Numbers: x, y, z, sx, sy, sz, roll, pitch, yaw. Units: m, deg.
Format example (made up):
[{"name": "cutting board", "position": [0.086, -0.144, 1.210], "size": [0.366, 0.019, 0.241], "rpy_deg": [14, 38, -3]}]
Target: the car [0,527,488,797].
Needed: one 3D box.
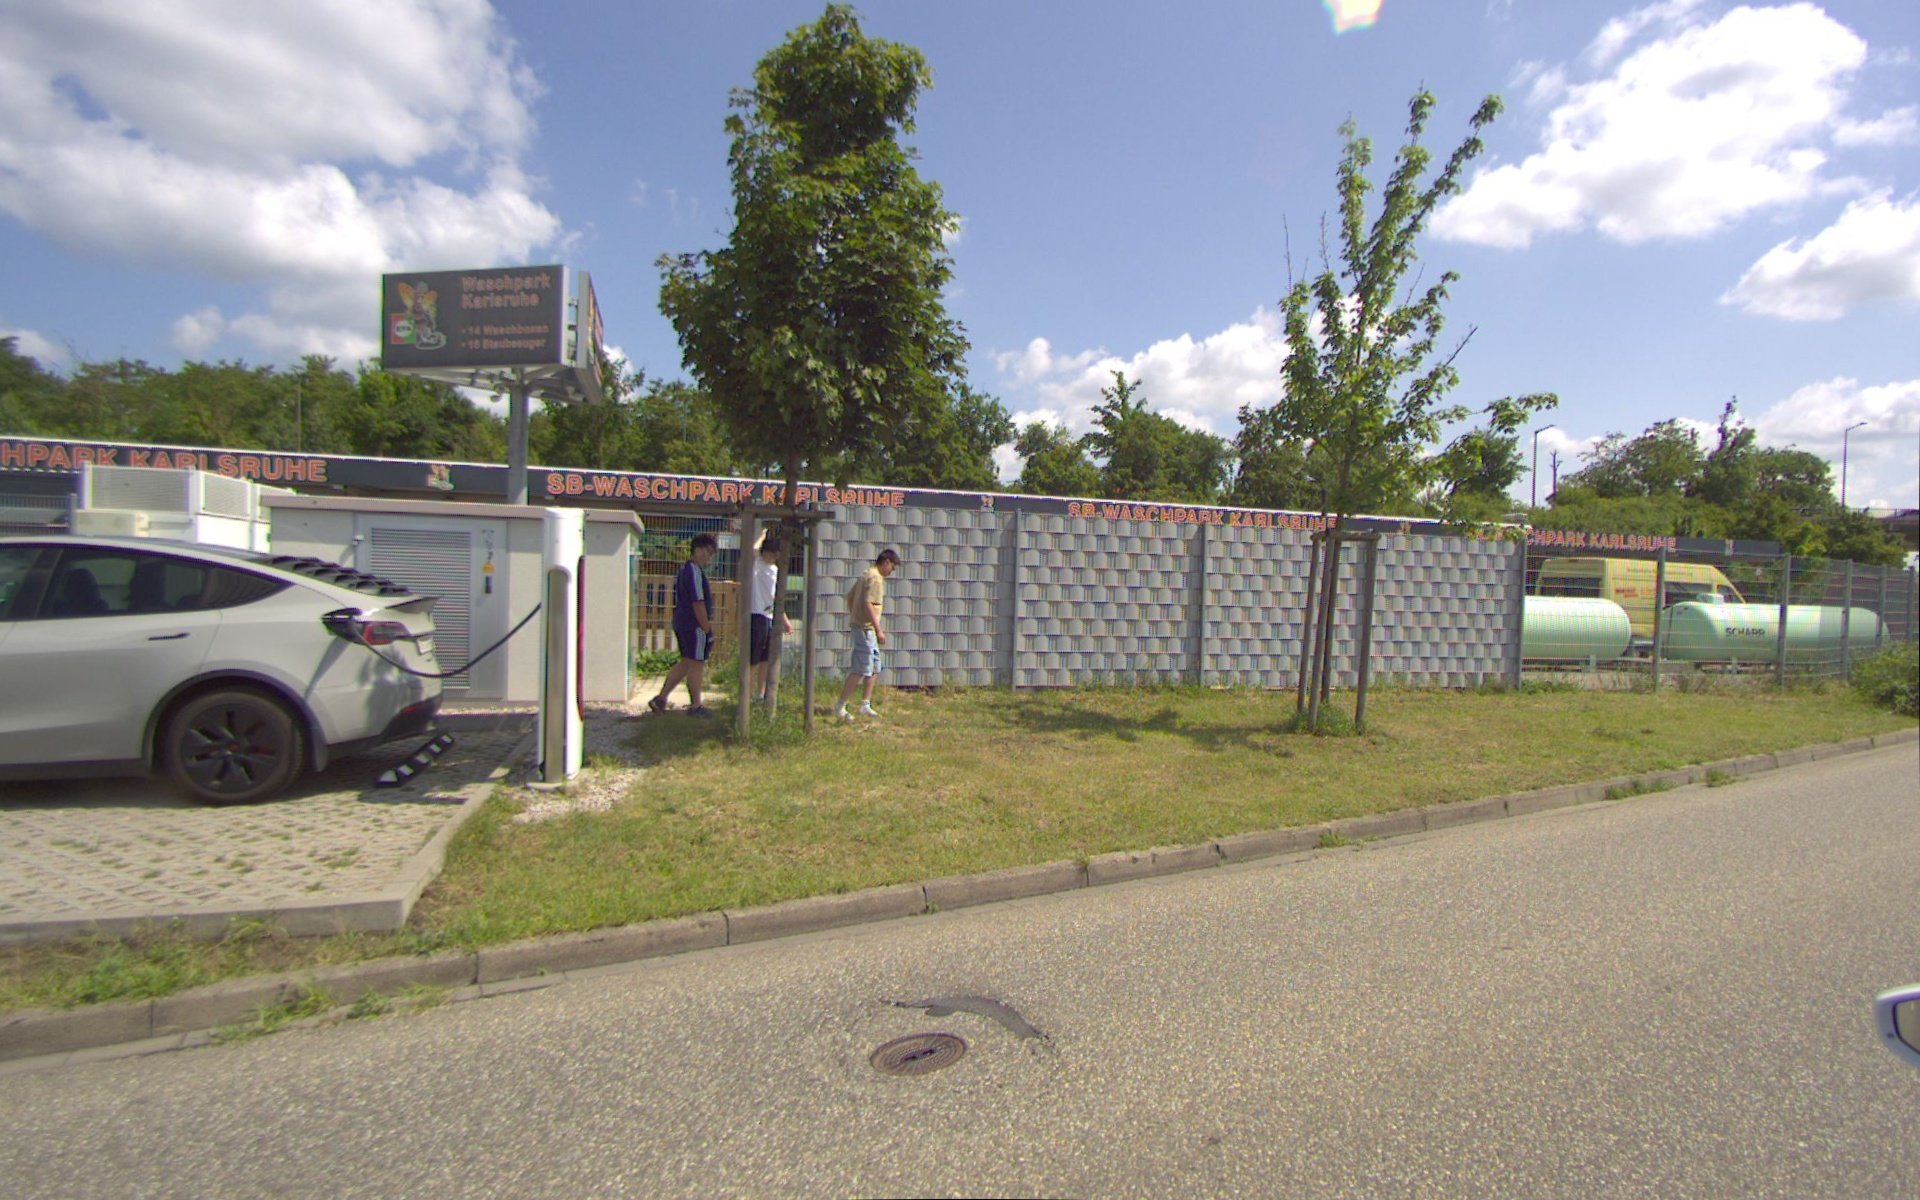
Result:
[{"name": "car", "position": [-5.833, 0.326, 6.615], "size": [4.700, 1.538, 1.929], "rpy_deg": [0, 2, -19]}]

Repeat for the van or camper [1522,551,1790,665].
[{"name": "van or camper", "position": [16.753, 0.219, 24.244], "size": [5.566, 2.458, 2.242], "rpy_deg": [2, 0, -16]}]

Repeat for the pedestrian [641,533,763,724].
[{"name": "pedestrian", "position": [-2.273, 0.235, 8.882], "size": [0.709, 1.600, 0.712], "rpy_deg": [2, 1, 28]}]

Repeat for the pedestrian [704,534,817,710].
[{"name": "pedestrian", "position": [-1.888, 0.193, 9.558], "size": [0.700, 1.586, 0.758], "rpy_deg": [2, 1, 27]}]

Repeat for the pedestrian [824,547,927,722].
[{"name": "pedestrian", "position": [-0.806, 0.318, 9.461], "size": [0.802, 1.562, 0.738], "rpy_deg": [2, 0, -16]}]

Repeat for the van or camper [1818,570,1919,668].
[{"name": "van or camper", "position": [26.489, 0.545, 28.642], "size": [5.655, 2.547, 2.170], "rpy_deg": [1, -1, -40]}]
